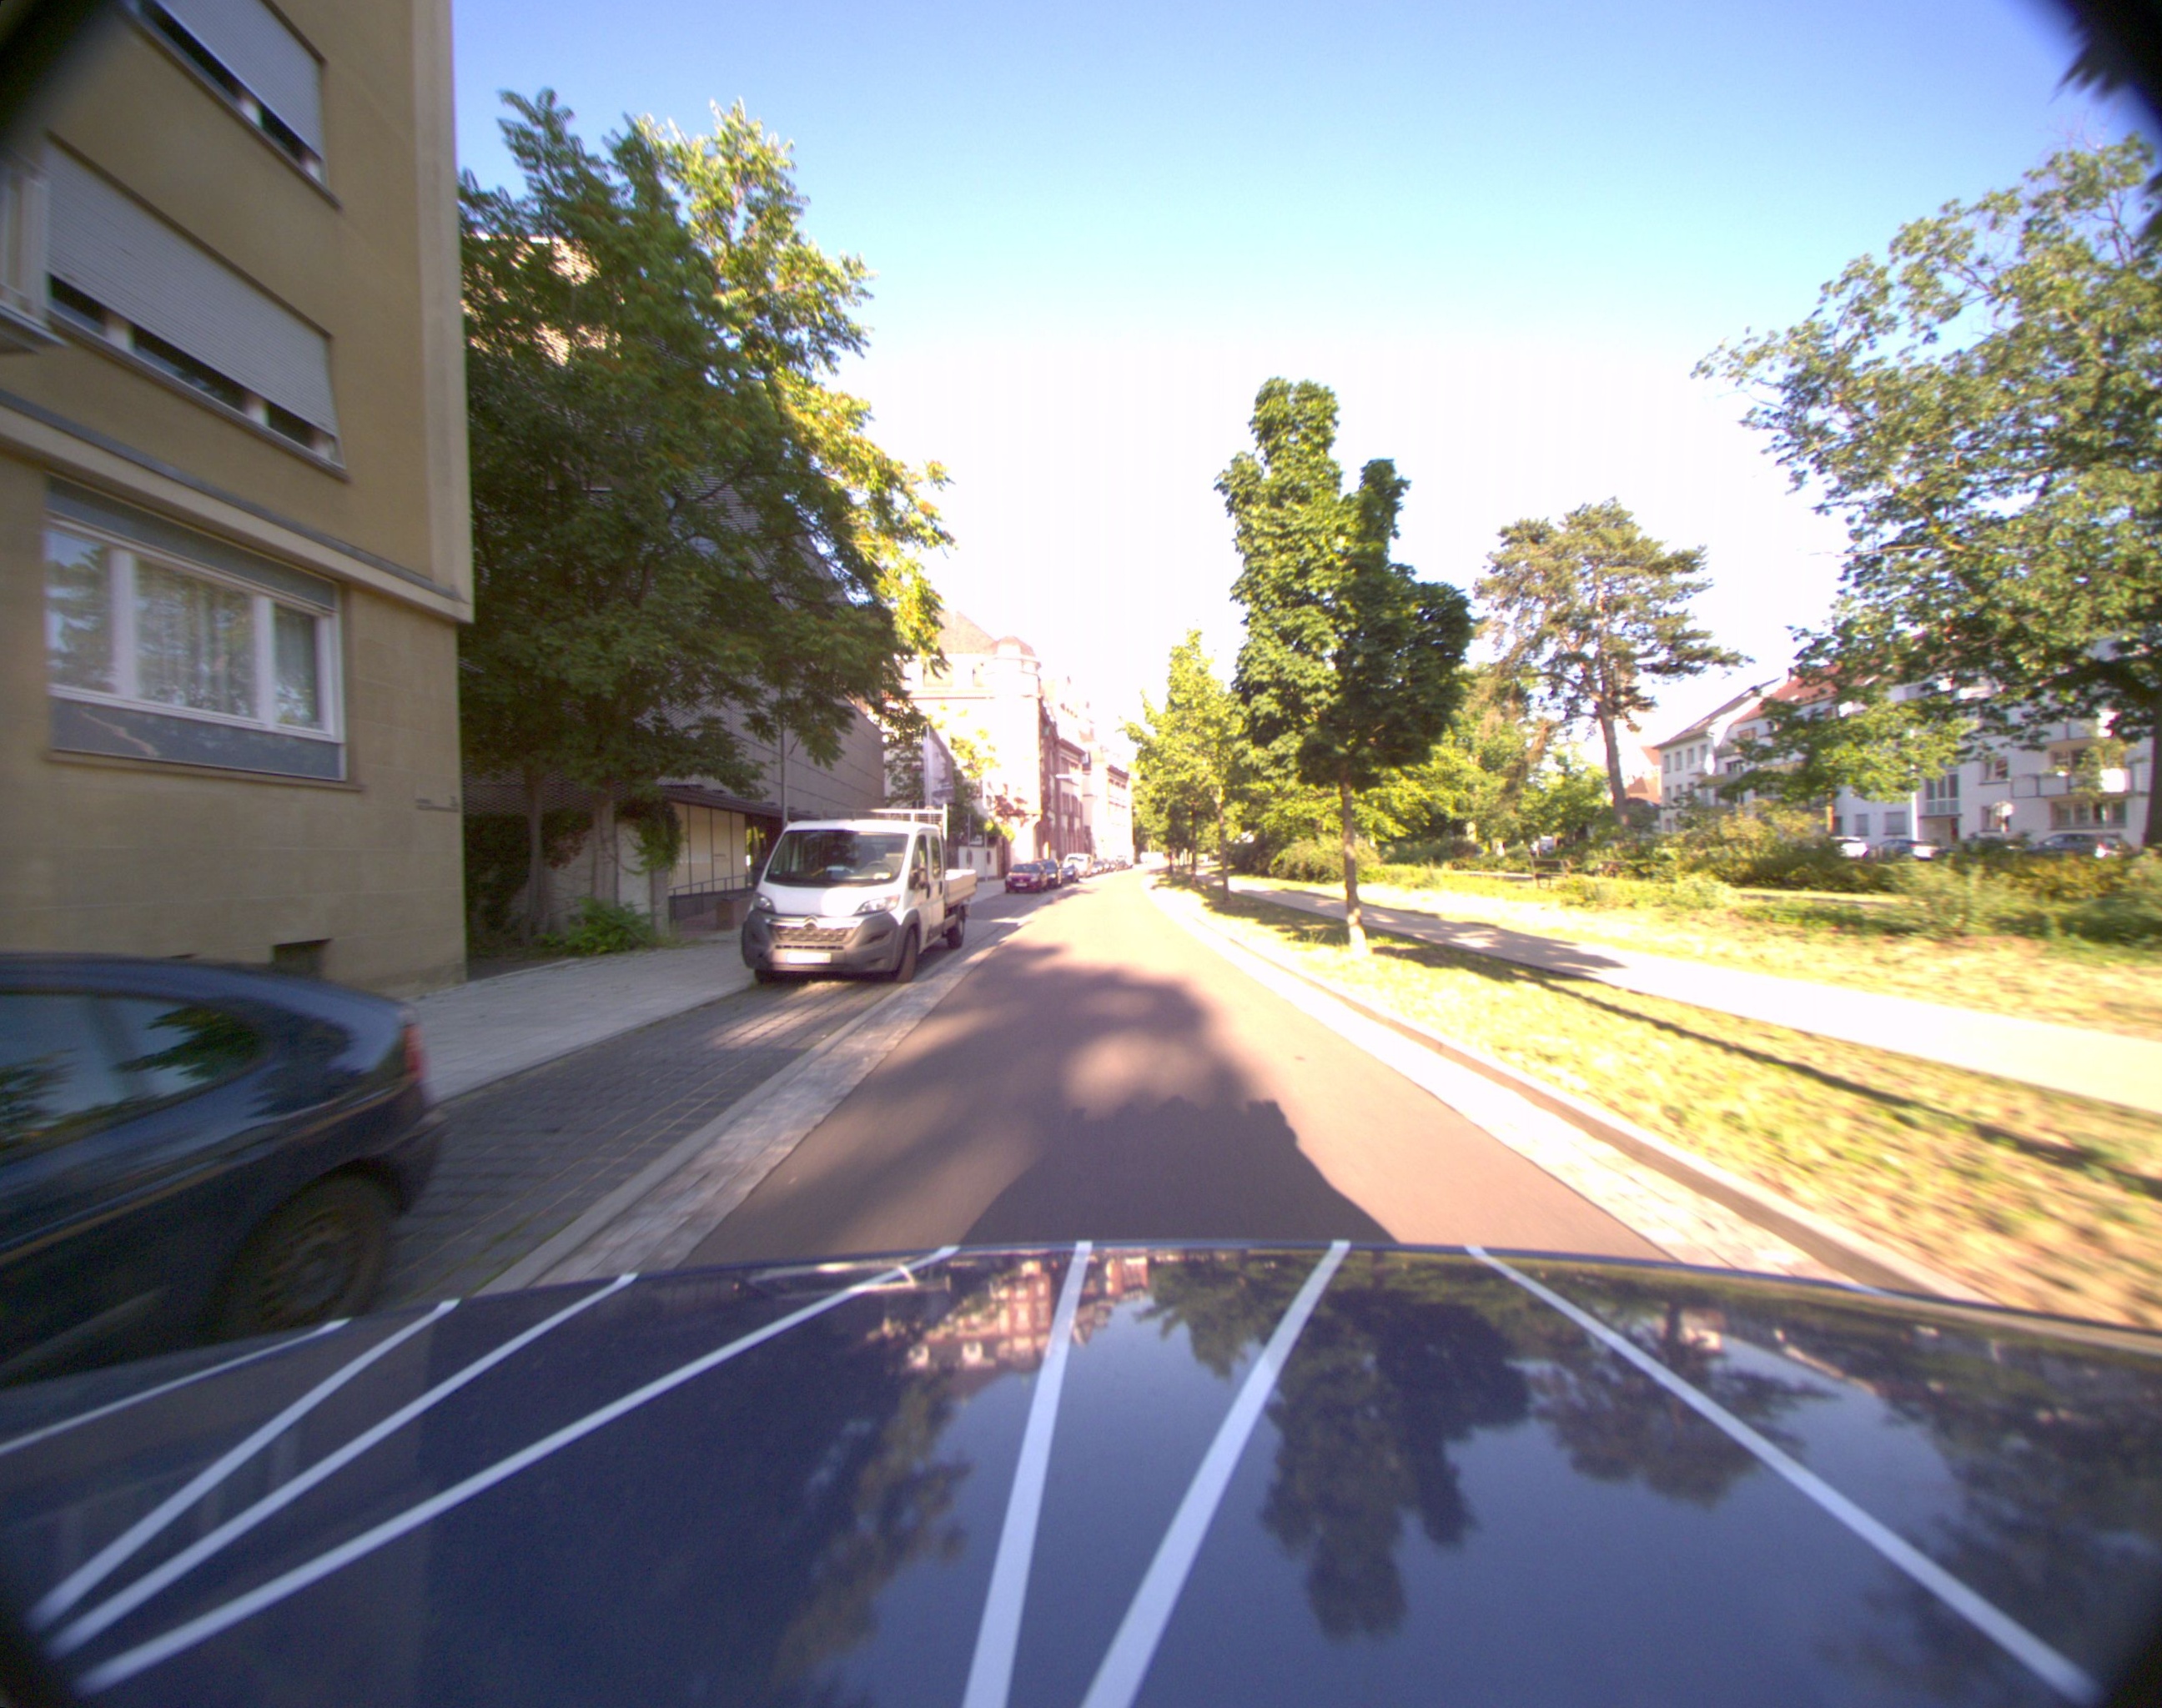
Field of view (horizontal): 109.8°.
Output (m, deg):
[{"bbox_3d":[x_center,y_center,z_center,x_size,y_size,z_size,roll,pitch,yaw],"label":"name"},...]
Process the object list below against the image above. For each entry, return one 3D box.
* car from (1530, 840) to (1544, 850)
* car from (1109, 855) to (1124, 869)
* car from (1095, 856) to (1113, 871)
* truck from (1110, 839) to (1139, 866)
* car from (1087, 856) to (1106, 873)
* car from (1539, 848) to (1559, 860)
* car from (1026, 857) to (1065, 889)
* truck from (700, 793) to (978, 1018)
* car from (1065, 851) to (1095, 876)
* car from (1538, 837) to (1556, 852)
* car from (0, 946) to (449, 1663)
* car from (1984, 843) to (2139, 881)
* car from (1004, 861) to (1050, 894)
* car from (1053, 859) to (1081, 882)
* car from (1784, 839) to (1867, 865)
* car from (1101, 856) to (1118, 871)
[{"bbox_3d":[78.533,-1.583,130.985,1.886,1.565,4.606,0,2,28],"label":"car"},{"bbox_3d":[4.301,0.964,90.912,1.583,1.499,3.848,-1,1,5],"label":"car"},{"bbox_3d":[2.415,0.982,78.895,1.583,1.499,3.848,-1,1,5],"label":"car"},{"bbox_3d":[5.833,-0.235,100.497,3.018,3.423,7.628,-1,1,10],"label":"truck"},{"bbox_3d":[1.531,1.008,73.045,1.583,1.499,3.848,-1,1,5],"label":"car"},{"bbox_3d":[65.138,-0.035,105.825,1.886,1.565,4.605,0,2,25],"label":"car"},{"bbox_3d":[-1.887,0.996,41.105,1.610,1.608,3.951,-1,1,4],"label":"car"},{"bbox_3d":[-3.234,0.570,12.152,2.134,2.549,6.876,-1,1,1],"label":"truck"},{"bbox_3d":[-0.044,0.784,63.912,2.119,1.942,4.762,-1,1,5],"label":"car"},{"bbox_3d":[73.264,-1.497,119.508,1.886,2.114,4.605,0,2,25],"label":"car"},{"bbox_3d":[-3.211,1.080,0.863,1.707,1.412,4.034,1,1,-2],"label":"car"},{"bbox_3d":[46.773,0.336,36.437,1.888,1.565,4.601,-1,2,9],"label":"car"},{"bbox_3d":[-2.482,1.066,35.610,1.610,1.349,3.548,-1,1,4],"label":"car"},{"bbox_3d":[-0.911,1.088,51.447,1.509,1.437,3.731,-1,1,4],"label":"car"},{"bbox_3d":[49.581,-0.141,50.736,1.887,1.565,4.602,-1,2,13],"label":"car"},{"bbox_3d":[3.152,1.040,83.935,1.583,1.499,3.848,-1,1,5],"label":"car"}]
